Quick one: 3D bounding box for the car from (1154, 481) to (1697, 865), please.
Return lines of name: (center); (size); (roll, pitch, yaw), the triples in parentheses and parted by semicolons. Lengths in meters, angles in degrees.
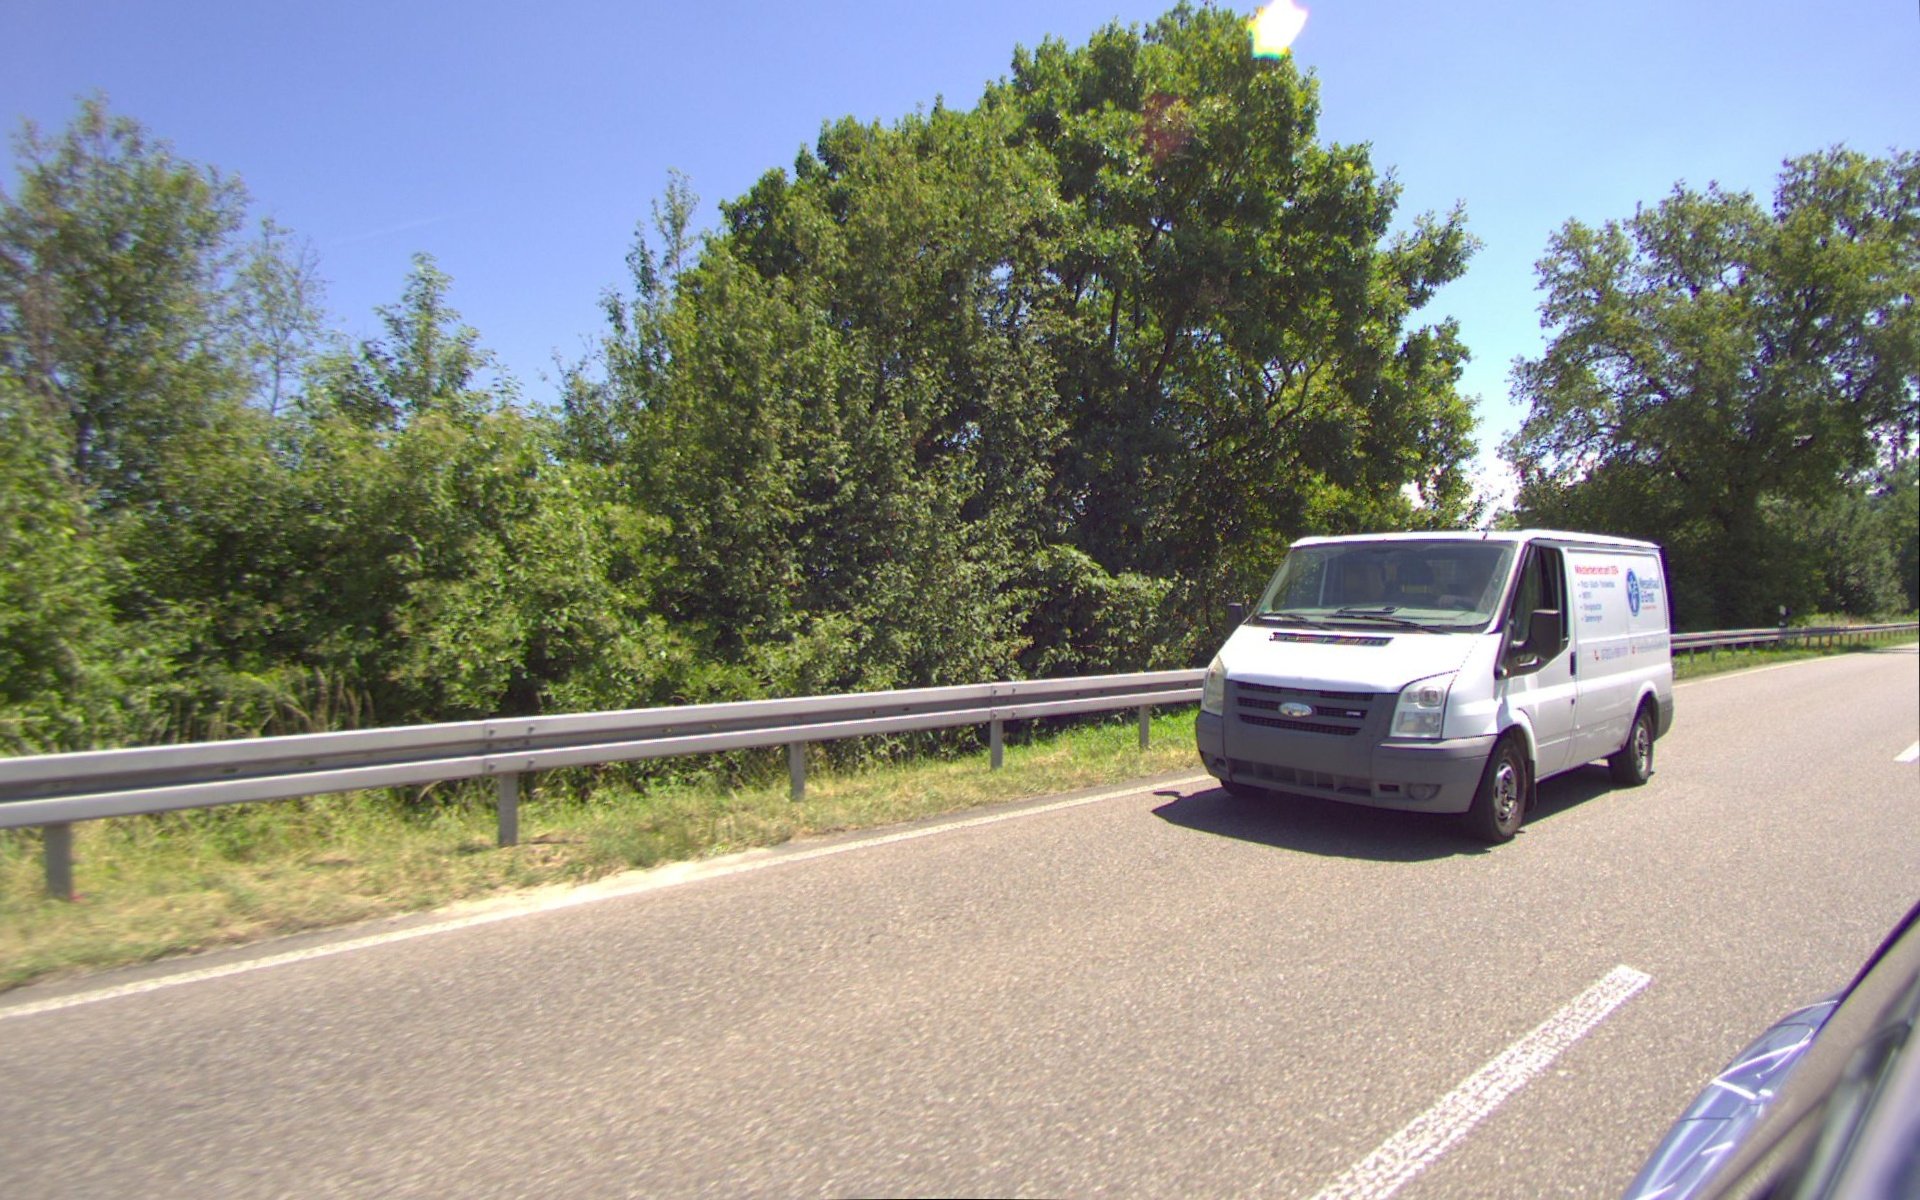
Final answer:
car: (3.800, 0.355, 7.733); (4.948, 2.014, 2.008); (-1, 0, -42)
